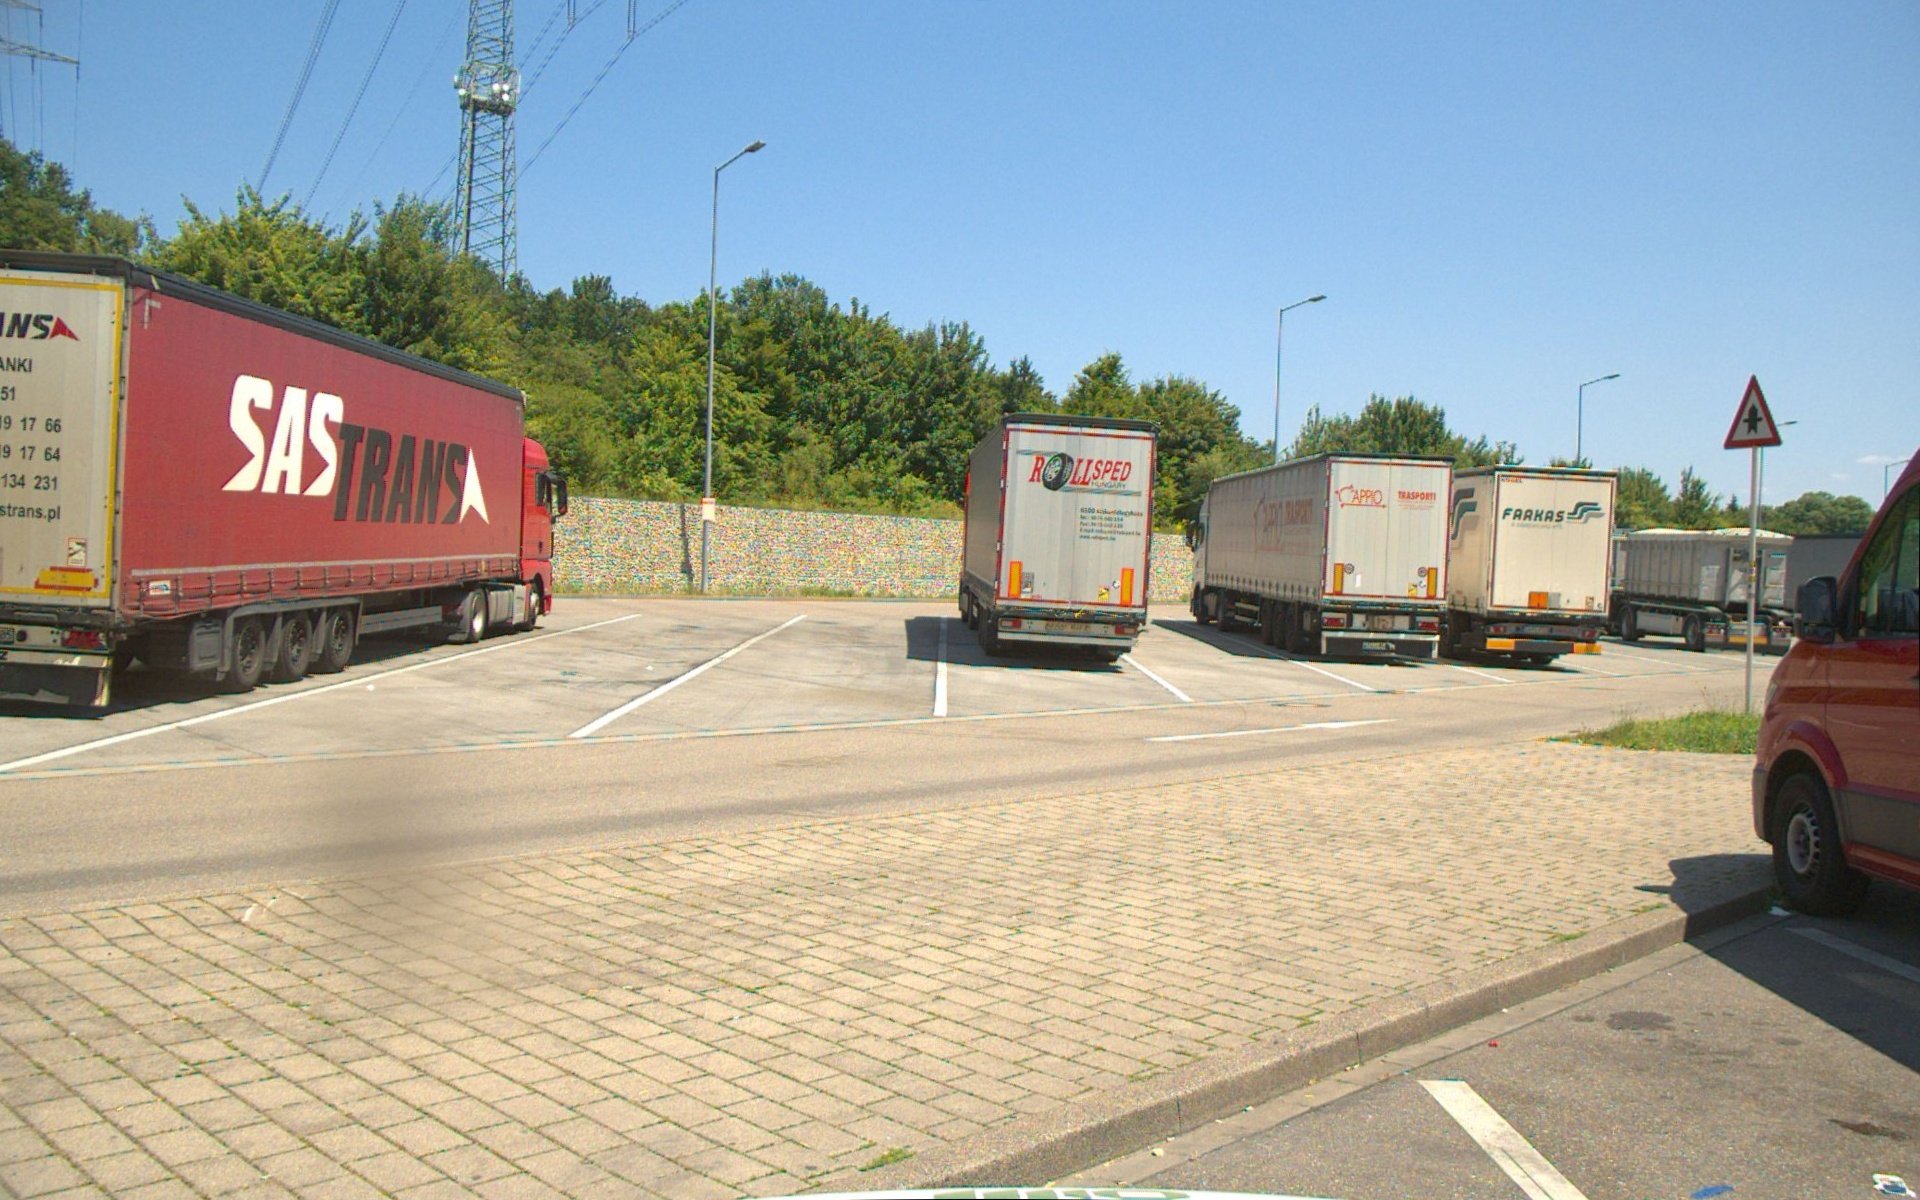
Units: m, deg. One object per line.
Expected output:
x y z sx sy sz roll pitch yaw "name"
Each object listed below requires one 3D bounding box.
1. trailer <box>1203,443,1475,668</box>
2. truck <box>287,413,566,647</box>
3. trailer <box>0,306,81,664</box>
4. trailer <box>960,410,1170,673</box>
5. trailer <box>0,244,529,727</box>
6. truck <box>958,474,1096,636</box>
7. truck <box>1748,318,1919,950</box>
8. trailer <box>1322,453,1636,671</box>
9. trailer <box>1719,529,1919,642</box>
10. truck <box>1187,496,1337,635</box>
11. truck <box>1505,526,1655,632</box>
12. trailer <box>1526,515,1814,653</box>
8.248 -1.101 38.500 2.800 4.180 13.762 2 2 -1 "trailer"
-8.799 -1.162 28.062 2.755 3.421 5.974 2 2 -1 "truck"
-12.486 -1.259 15.790 2.651 4.173 10.389 2 2 -1 "trailer"
1.675 -1.175 33.146 2.800 4.040 13.761 2 2 -2 "trailer"
-8.690 -1.270 21.246 2.764 4.141 13.763 2 2 -1 "trailer"
1.473 -1.091 39.343 2.808 3.421 5.974 2 2 -1 "truck"
4.997 0.157 5.515 1.969 2.697 6.457 1 0 3 "truck"
11.768 -0.990 39.564 2.800 4.180 13.762 2 2 -1 "trailer"
34.783 -0.707 65.446 2.800 3.972 13.762 2 2 -1 "trailer"
8.125 -0.984 45.262 2.808 3.421 5.974 2 2 -1 "truck"
21.733 -0.793 58.340 2.808 3.421 5.974 2 2 -1 "truck"
21.833 -0.680 52.245 2.800 3.662 13.762 2 2 -1 "trailer"
